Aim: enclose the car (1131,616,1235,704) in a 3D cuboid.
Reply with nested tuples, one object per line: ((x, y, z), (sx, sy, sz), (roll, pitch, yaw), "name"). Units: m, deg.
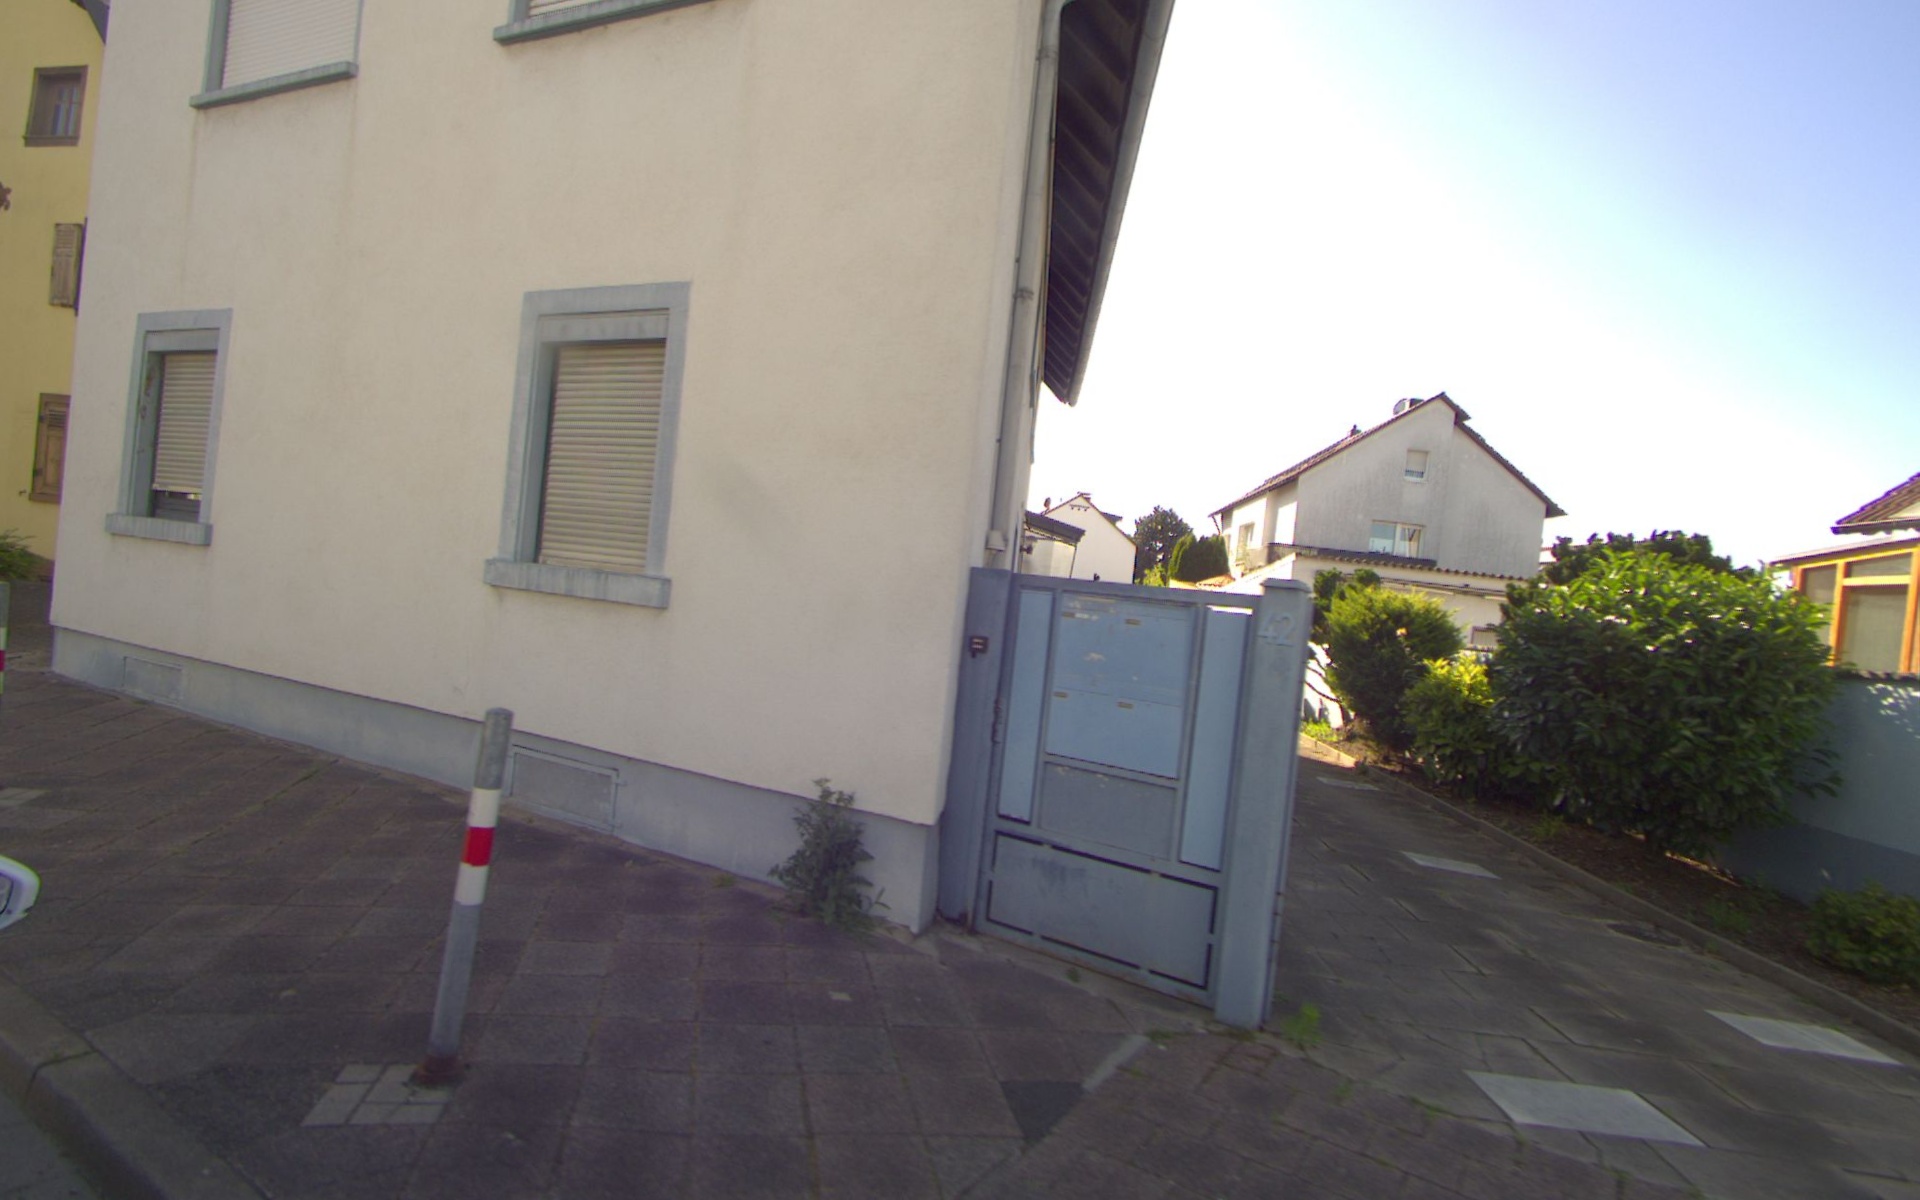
((4.655, 1.215, 21.343), (1.549, 1.565, 2.967), (6, -1, 3), "car")
